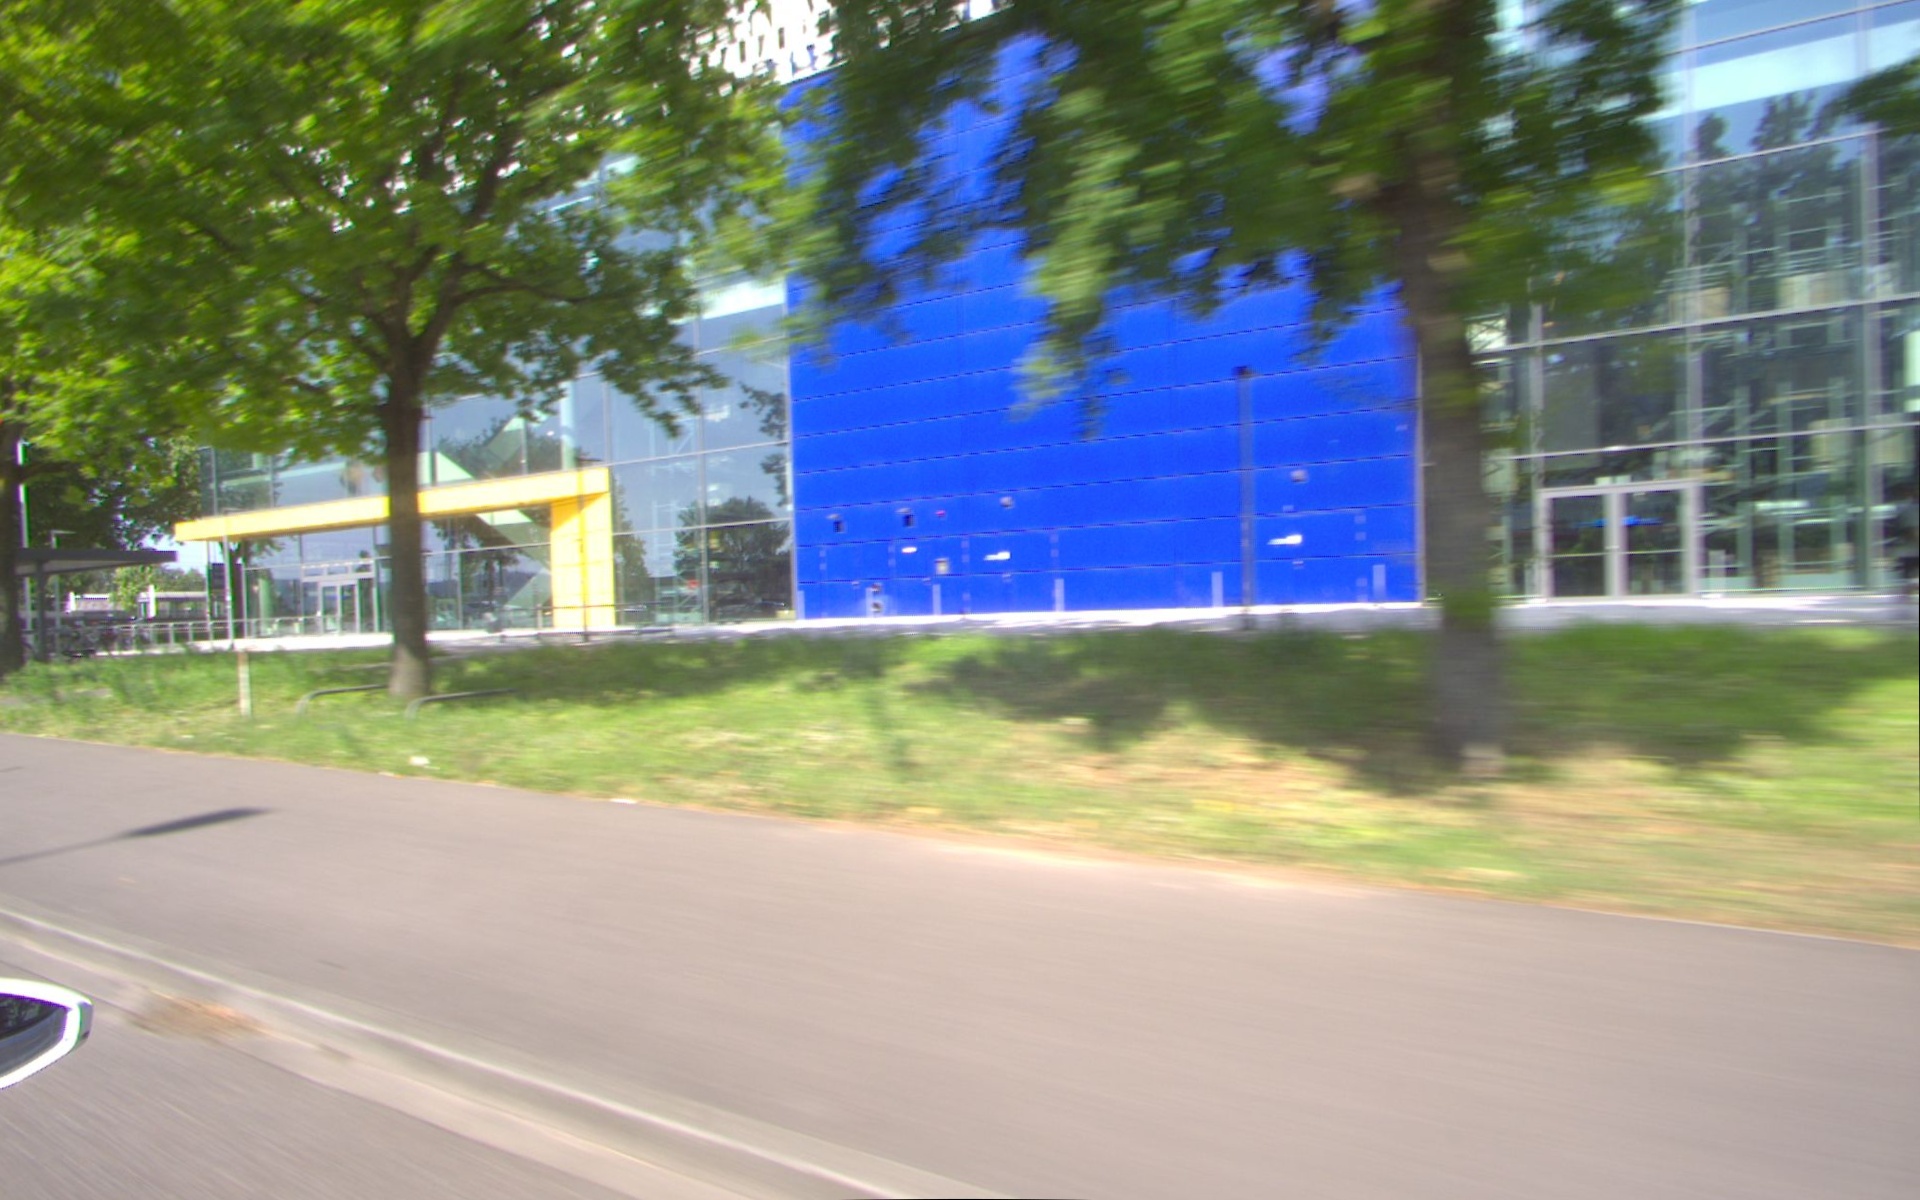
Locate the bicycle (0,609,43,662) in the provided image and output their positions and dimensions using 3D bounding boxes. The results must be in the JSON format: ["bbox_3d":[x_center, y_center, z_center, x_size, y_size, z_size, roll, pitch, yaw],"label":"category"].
[{"bbox_3d":[-20.837,0.775,21.401,0.445,1.111,1.756,-1,1,29],"label":"bicycle"}]

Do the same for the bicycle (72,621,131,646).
[{"bbox_3d":[-30.928,1.188,36.107,0.427,0.854,1.559,0,0,30],"label":"bicycle"}]

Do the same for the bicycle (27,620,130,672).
[{"bbox_3d":[-20.838,1.066,23.708,0.445,1.111,1.756,0,1,29],"label":"bicycle"}]

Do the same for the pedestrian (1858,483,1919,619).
[{"bbox_3d":[11.701,-0.597,12.338,0.759,1.634,0.687,0,2,25],"label":"pedestrian"}]

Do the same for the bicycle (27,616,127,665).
[{"bbox_3d":[-21.528,0.961,24.443,0.445,1.111,1.756,0,1,29],"label":"bicycle"}]

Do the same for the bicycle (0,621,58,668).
[{"bbox_3d":[-24.028,1.128,25.316,0.445,1.111,1.756,0,1,29],"label":"bicycle"}]

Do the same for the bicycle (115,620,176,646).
[{"bbox_3d":[-27.907,1.121,34.314,0.427,0.854,1.559,0,0,30],"label":"bicycle"}]

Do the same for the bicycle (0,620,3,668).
[{"bbox_3d":[-22.795,1.034,22.525,0.445,1.111,1.756,0,1,29],"label":"bicycle"}]

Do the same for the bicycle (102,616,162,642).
[{"bbox_3d":[-28.838,1.017,34.902,0.427,0.854,1.559,0,0,30],"label":"bicycle"}]

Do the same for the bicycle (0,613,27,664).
[{"bbox_3d":[-21.630,0.871,21.869,0.456,1.111,1.756,0,1,29],"label":"bicycle"}]

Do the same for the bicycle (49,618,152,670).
[{"bbox_3d":[-19.906,1.006,23.229,0.445,1.111,1.756,0,1,29],"label":"bicycle"}]

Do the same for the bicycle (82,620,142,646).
[{"bbox_3d":[-30.241,1.161,35.735,0.427,0.854,1.559,0,0,30],"label":"bicycle"}]

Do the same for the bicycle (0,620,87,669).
[{"bbox_3d":[-22.741,1.073,24.700,0.445,1.111,1.756,0,1,29],"label":"bicycle"}]
